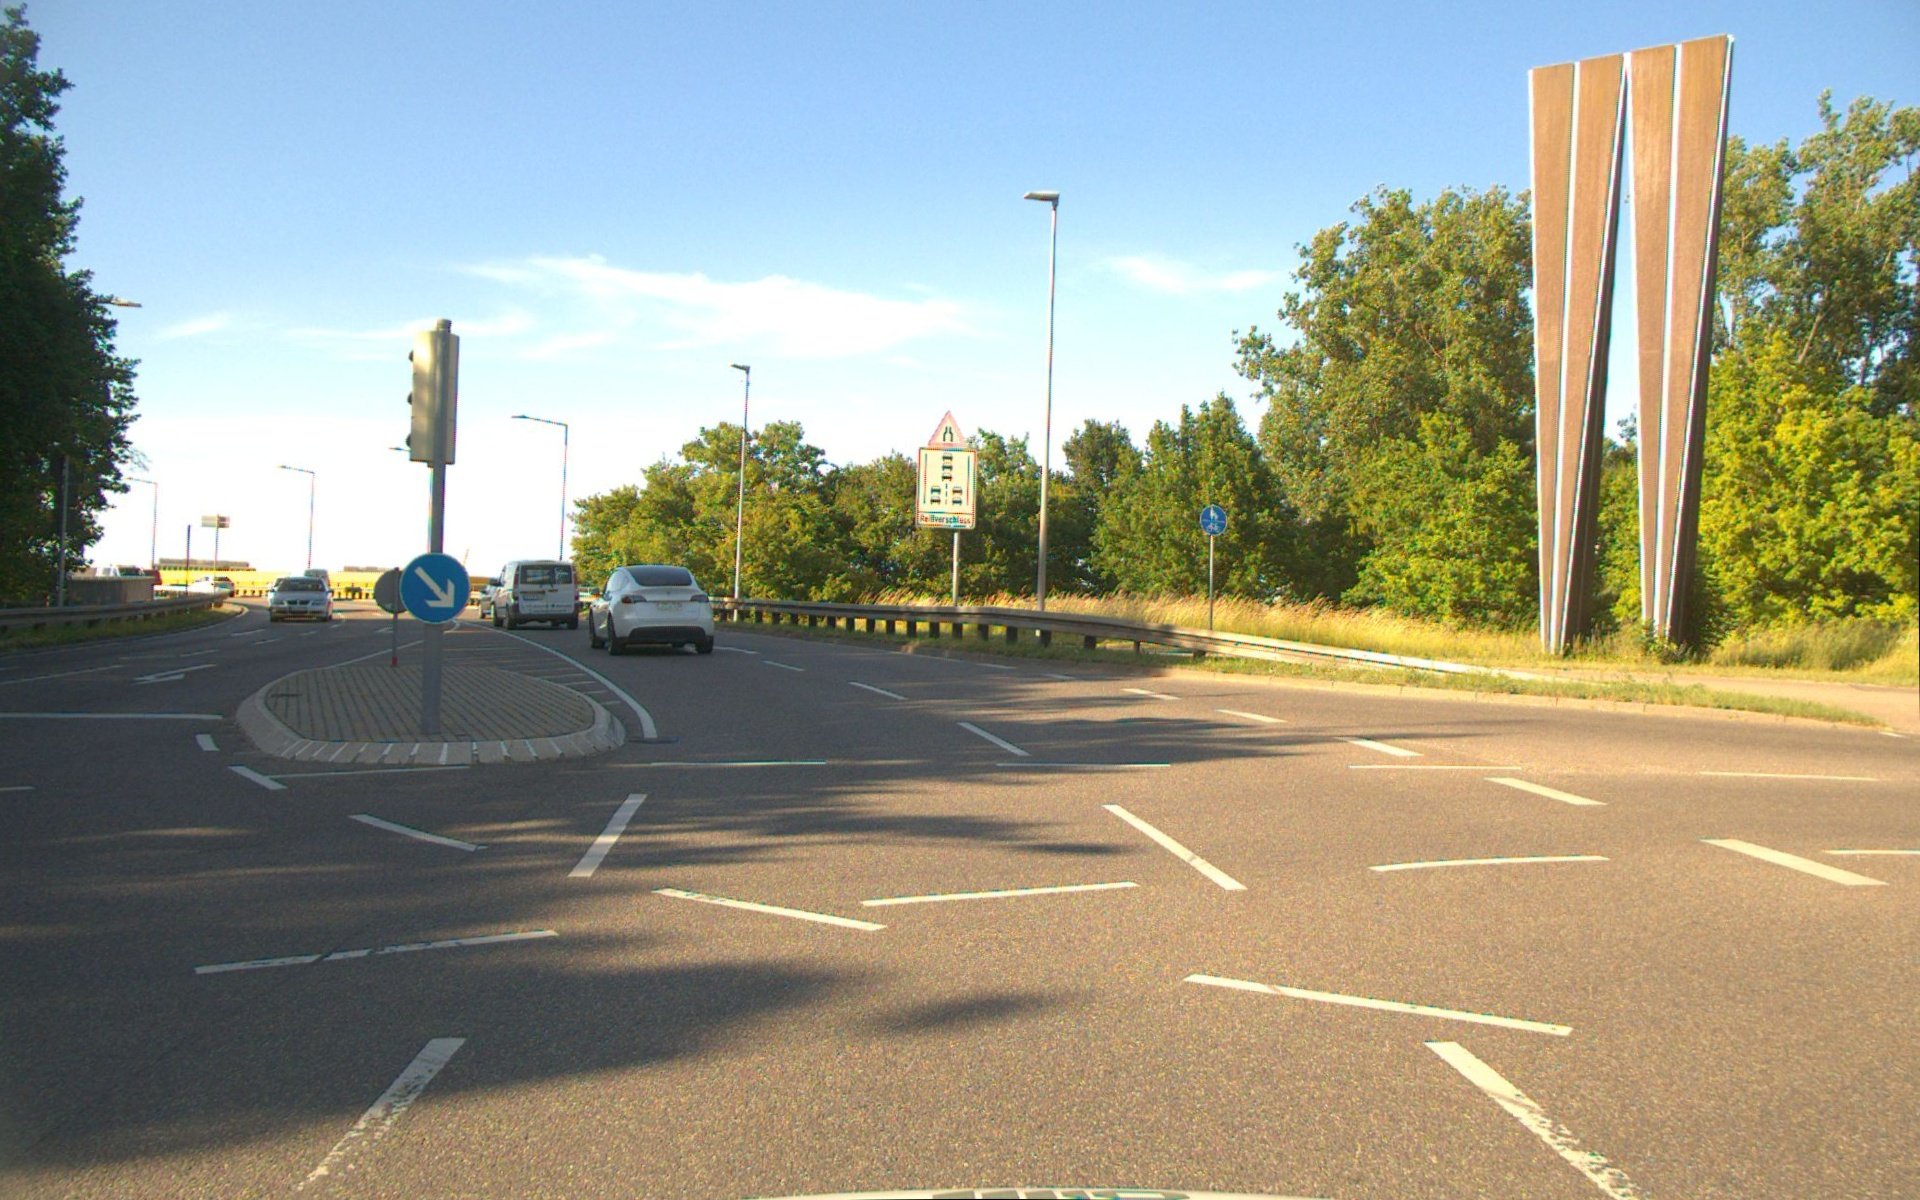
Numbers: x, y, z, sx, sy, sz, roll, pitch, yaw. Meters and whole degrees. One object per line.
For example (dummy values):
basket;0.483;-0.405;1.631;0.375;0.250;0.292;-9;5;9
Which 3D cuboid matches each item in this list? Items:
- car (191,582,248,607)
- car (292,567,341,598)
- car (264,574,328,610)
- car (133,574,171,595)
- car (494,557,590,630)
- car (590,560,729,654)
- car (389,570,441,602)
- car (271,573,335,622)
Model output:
car;-49.606;-0.364;110.810;2.257;1.534;3.934;2;-1;-44
car;-38.275;-1.052;98.360;1.950;1.728;3.955;1;1;-33
car;-27.550;-0.347;68.578;2.071;1.415;4.371;1;1;-27
car;-59.107;-1.128;120.940;3.293;1.477;1.400;2;1;43
car;-11.705;-0.183;46.114;1.966;1.912;4.219;1;0;-23
car;-5.842;0.122;31.748;1.964;1.668;4.104;1;0;-20
car;-26.481;-0.687;80.272;1.944;1.500;4.122;1;1;-25
car;-21.283;-0.109;53.625;1.843;1.500;3.884;1;1;-22
